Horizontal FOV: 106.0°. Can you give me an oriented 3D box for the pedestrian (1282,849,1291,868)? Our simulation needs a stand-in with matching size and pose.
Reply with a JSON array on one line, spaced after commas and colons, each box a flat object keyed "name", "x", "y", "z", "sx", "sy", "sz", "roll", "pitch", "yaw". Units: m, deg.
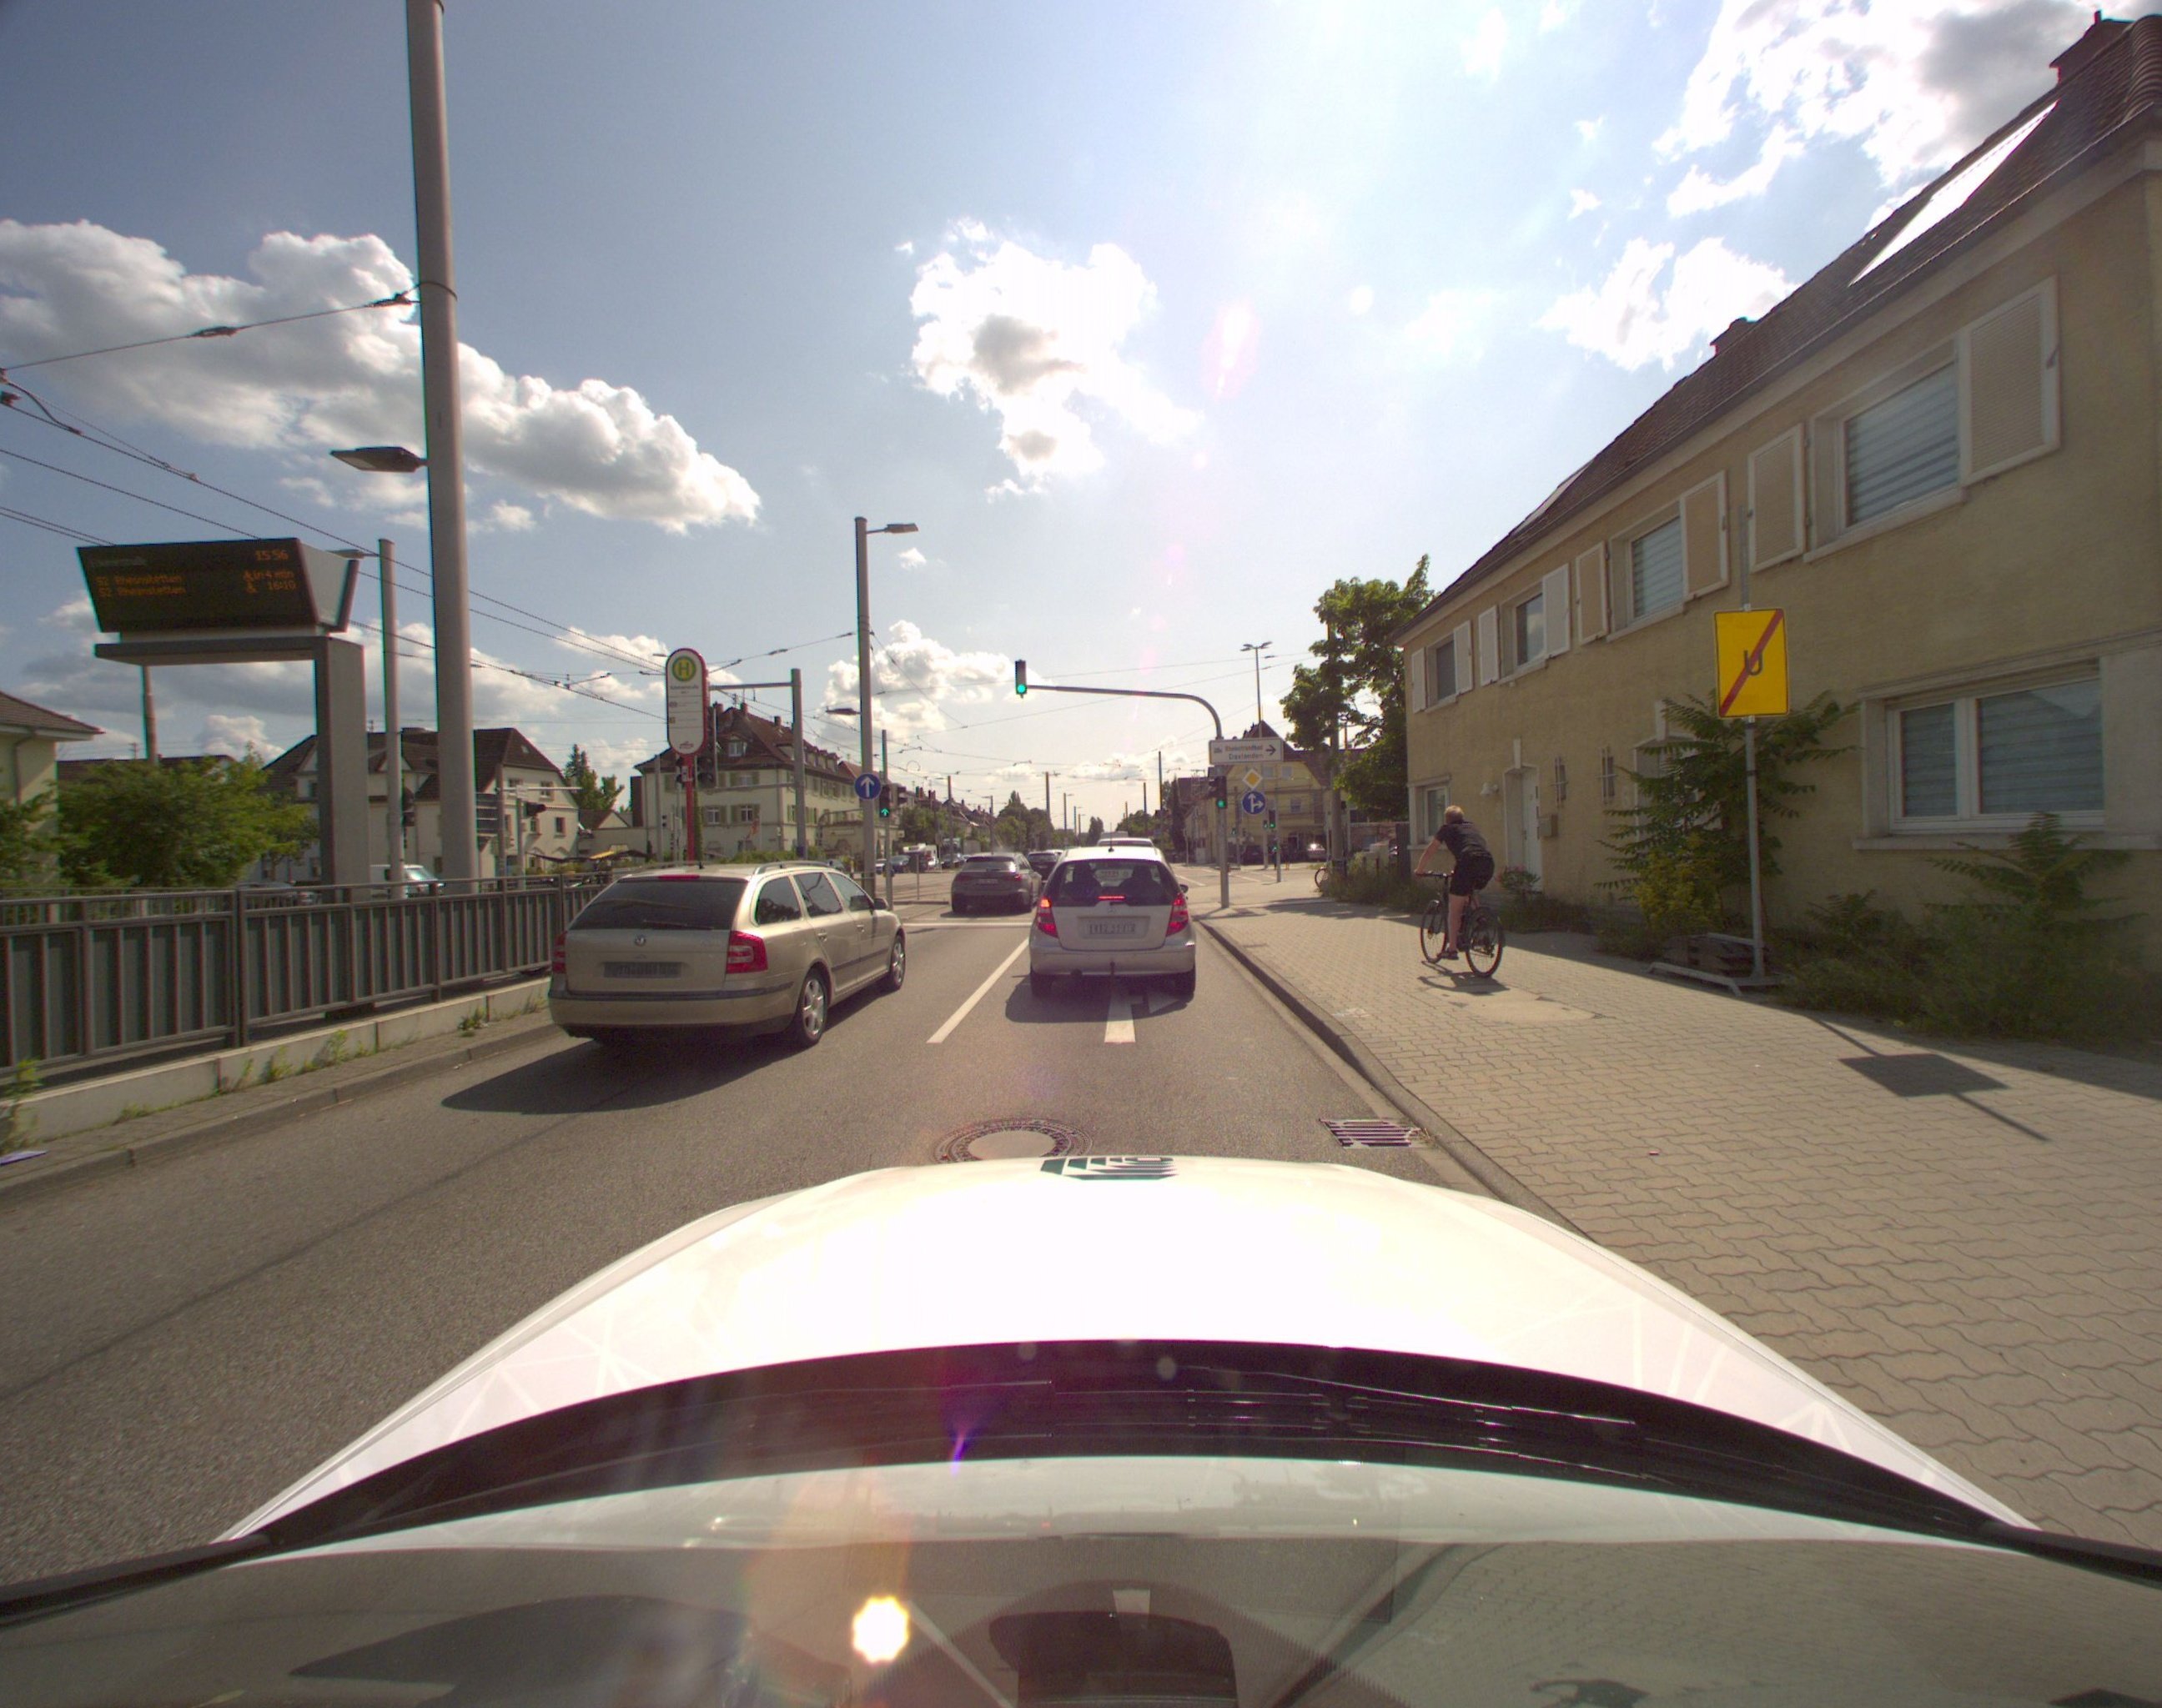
[{"name": "pedestrian", "x": 12.763, "y": 0.283, "z": 50.582, "sx": 0.485, "sy": 1.136, "sz": 0.389, "roll": 0, "pitch": -1, "yaw": 6}]

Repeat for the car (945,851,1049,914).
[{"name": "car", "x": -2.054, "y": 0.670, "z": 21.282, "sx": 1.908, "sy": 1.477, "sz": 4.567, "roll": 0, "pitch": 0, "yaw": 4}]

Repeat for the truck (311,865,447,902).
[{"name": "truck", "x": -37.891, "y": 1.582, "z": 44.027, "sx": 6.156, "sy": 1.922, "sz": 1.692, "roll": 0, "pitch": -1, "yaw": 4}]

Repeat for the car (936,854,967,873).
[{"name": "car", "x": -13.634, "y": 0.984, "z": 86.179, "sx": 1.984, "sy": 1.776, "sz": 4.884, "roll": -3, "pitch": 0, "yaw": 5}]

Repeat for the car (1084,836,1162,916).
[{"name": "car", "x": 0.934, "y": 0.508, "z": 20.134, "sx": 1.724, "sy": 1.762, "sz": 4.015, "roll": 0, "pitch": 0, "yaw": 0}]

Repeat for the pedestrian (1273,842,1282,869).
[{"name": "pedestrian", "x": 12.196, "y": 0.077, "z": 50.544, "sx": 0.544, "sy": 1.643, "sz": 0.402, "roll": 0, "pitch": -1, "yaw": 6}]

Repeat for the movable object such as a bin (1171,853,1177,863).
[{"name": "movable object such as a bin", "x": 8.922, "y": 0.361, "z": 78.377, "sx": 0.509, "sy": 0.918, "sz": 0.742, "roll": -1, "pitch": -1, "yaw": 3}]

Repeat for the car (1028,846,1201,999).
[{"name": "car", "x": 0.334, "y": 0.695, "z": 10.147, "sx": 1.724, "sy": 1.517, "sz": 4.015, "roll": 0, "pitch": 0, "yaw": 0}]

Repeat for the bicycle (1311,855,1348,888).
[{"name": "bicycle", "x": 8.164, "y": 0.559, "z": 26.672, "sx": 0.457, "sy": 1.018, "sz": 1.767, "roll": -1, "pitch": -1, "yaw": 42}]

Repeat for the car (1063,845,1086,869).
[{"name": "car", "x": -0.492, "y": 0.260, "z": 66.534, "sx": 1.846, "sy": 1.843, "sz": 3.918, "roll": 0, "pitch": -1, "yaw": 0}]

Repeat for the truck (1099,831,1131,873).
[{"name": "truck", "x": 2.137, "y": -0.080, "z": 52.672, "sx": 1.846, "sy": 2.552, "sz": 5.855, "roll": 0, "pitch": 0, "yaw": 0}]

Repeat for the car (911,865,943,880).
[{"name": "car", "x": -14.143, "y": 1.686, "z": 75.098, "sx": 1.985, "sy": 1.351, "sz": 4.180, "roll": 0, "pitch": 0, "yaw": 3}]

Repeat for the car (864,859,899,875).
[{"name": "car", "x": -17.843, "y": 1.152, "z": 72.956, "sx": 1.676, "sy": 1.351, "sz": 4.352, "roll": 0, "pitch": 0, "yaw": 6}]

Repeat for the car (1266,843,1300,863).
[{"name": "car", "x": 16.770, "y": -0.077, "z": 67.822, "sx": 1.986, "sy": 1.596, "sz": 4.133, "roll": 0, "pitch": 0, "yaw": 2}]

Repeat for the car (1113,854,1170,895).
[{"name": "car", "x": 2.266, "y": 0.706, "z": 29.829, "sx": 1.720, "sy": 1.403, "sz": 4.026, "roll": -1, "pitch": 0, "yaw": 9}]

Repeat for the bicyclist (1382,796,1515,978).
[{"name": "bicyclist", "x": 3.907, "y": 0.328, "z": 8.752, "sx": 0.826, "sy": 1.793, "sz": 1.083, "roll": -3, "pitch": 0, "yaw": -2}]

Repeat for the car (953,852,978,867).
[{"name": "car", "x": -13.493, "y": 0.681, "z": 95.485, "sx": 1.986, "sy": 1.552, "sz": 4.180, "roll": -5, "pitch": -1, "yaw": 2}]

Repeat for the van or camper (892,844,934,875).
[{"name": "van or camper", "x": -17.257, "y": 0.505, "z": 84.222, "sx": 2.315, "sy": 2.929, "sz": 7.759, "roll": -3, "pitch": 0, "yaw": 3}]

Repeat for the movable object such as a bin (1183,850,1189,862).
[{"name": "movable object such as a bin", "x": 10.123, "y": 0.212, "z": 78.570, "sx": 0.509, "sy": 1.105, "sz": 0.855, "roll": -1, "pitch": -1, "yaw": 3}]

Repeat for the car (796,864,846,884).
[{"name": "car", "x": -18.673, "y": 1.392, "z": 58.676, "sx": 1.675, "sy": 1.351, "sz": 4.355, "roll": 0, "pitch": 0, "yaw": 8}]

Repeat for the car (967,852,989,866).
[{"name": "car", "x": -12.922, "y": 0.637, "z": 102.653, "sx": 1.786, "sy": 1.637, "sz": 4.476, "roll": -3, "pitch": -1, "yaw": 4}]

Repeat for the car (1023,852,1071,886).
[{"name": "car", "x": -1.429, "y": 0.633, "z": 35.682, "sx": 1.846, "sy": 1.388, "sz": 4.514, "roll": 0, "pitch": 0, "yaw": 0}]

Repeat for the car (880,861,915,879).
[{"name": "car", "x": -14.692, "y": 1.245, "z": 65.350, "sx": 1.677, "sy": 1.351, "sz": 4.180, "roll": 0, "pitch": 0, "yaw": 3}]

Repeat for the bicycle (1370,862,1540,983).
[{"name": "bicycle", "x": 3.917, "y": 0.658, "z": 8.744, "sx": 0.826, "sy": 1.075, "sz": 1.969, "roll": -3, "pitch": 0, "yaw": -2}]

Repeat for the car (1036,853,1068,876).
[{"name": "car", "x": -1.791, "y": 0.642, "z": 51.081, "sx": 1.846, "sy": 1.388, "sz": 3.918, "roll": 0, "pitch": 0, "yaw": 0}]

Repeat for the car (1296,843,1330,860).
[{"name": "car", "x": 19.256, "y": -0.198, "z": 67.810, "sx": 1.860, "sy": 1.351, "sz": 4.133, "roll": 0, "pitch": 0, "yaw": 2}]

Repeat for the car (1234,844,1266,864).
[{"name": "car", "x": 13.995, "y": -0.012, "z": 67.714, "sx": 1.986, "sy": 1.596, "sz": 4.133, "roll": 0, "pitch": 0, "yaw": 2}]

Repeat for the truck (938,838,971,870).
[{"name": "truck", "x": -16.055, "y": -0.004, "z": 103.608, "sx": 2.587, "sy": 3.821, "sz": 5.675, "roll": -4, "pitch": 1, "yaw": 5}]

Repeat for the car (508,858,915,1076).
[{"name": "car", "x": -2.895, "y": 0.774, "z": 7.507, "sx": 1.724, "sy": 1.449, "sz": 4.125, "roll": 0, "pitch": 0, "yaw": 2}]

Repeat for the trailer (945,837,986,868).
[{"name": "trailer", "x": -15.509, "y": -0.259, "z": 110.392, "sx": 2.587, "sy": 3.821, "sz": 12.853, "roll": -4, "pitch": 1, "yaw": 4}]

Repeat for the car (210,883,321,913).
[{"name": "car", "x": -44.611, "y": 2.403, "z": 44.613, "sx": 4.145, "sy": 1.552, "sz": 2.002, "roll": -1, "pitch": -1, "yaw": 4}]

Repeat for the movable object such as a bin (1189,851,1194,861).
[{"name": "movable object such as a bin", "x": 11.456, "y": 0.207, "z": 84.309, "sx": 0.466, "sy": 0.946, "sz": 0.558, "roll": -2, "pitch": -1, "yaw": 2}]
